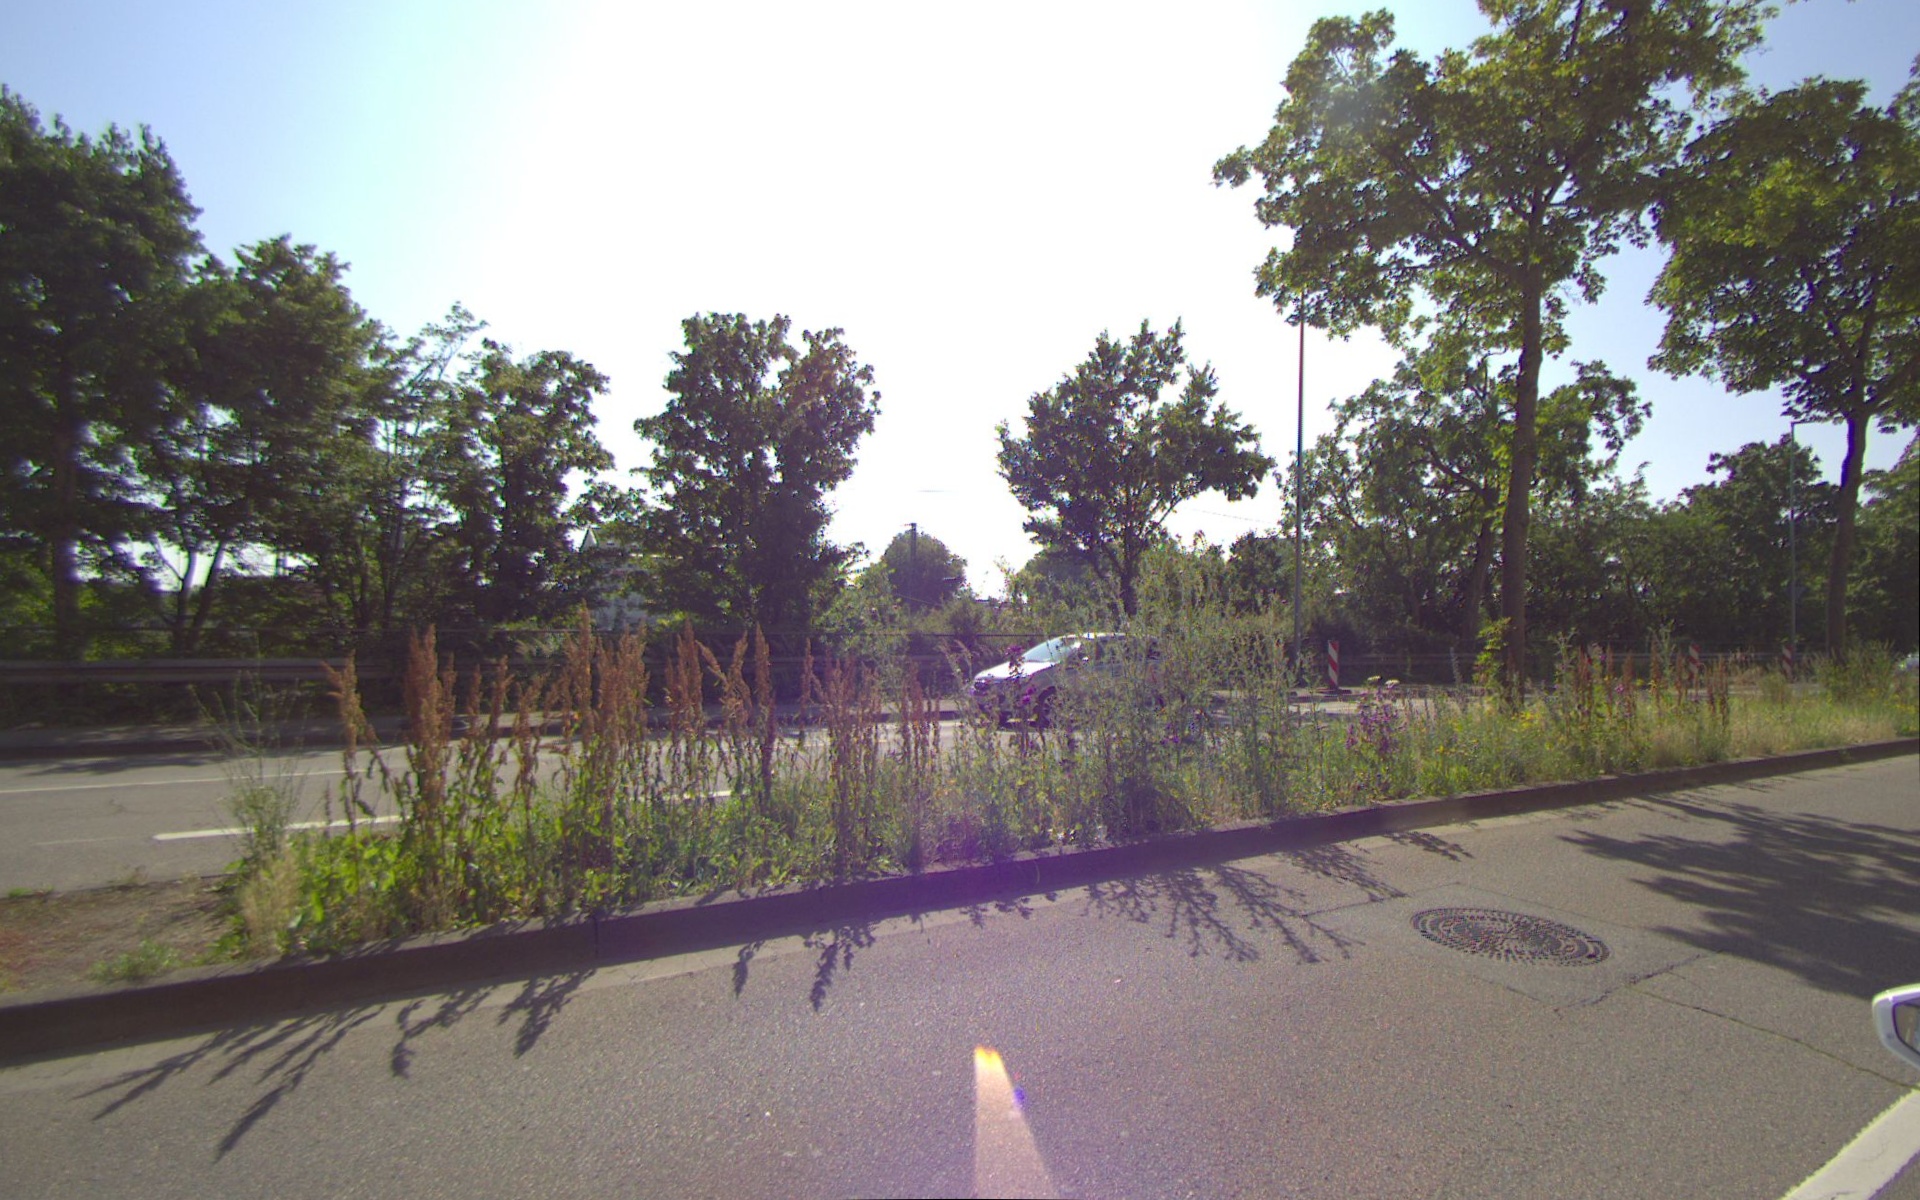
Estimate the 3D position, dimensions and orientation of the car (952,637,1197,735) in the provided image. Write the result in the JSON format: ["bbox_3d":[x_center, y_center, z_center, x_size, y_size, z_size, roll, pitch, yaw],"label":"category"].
[{"bbox_3d":[1.956,1.355,16.676,3.928,1.435,1.636,2,-2,-33],"label":"car"}]

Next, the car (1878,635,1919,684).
[{"bbox_3d":[32.427,1.963,33.244,3.949,1.550,1.791,2,-1,-27],"label":"car"}]
